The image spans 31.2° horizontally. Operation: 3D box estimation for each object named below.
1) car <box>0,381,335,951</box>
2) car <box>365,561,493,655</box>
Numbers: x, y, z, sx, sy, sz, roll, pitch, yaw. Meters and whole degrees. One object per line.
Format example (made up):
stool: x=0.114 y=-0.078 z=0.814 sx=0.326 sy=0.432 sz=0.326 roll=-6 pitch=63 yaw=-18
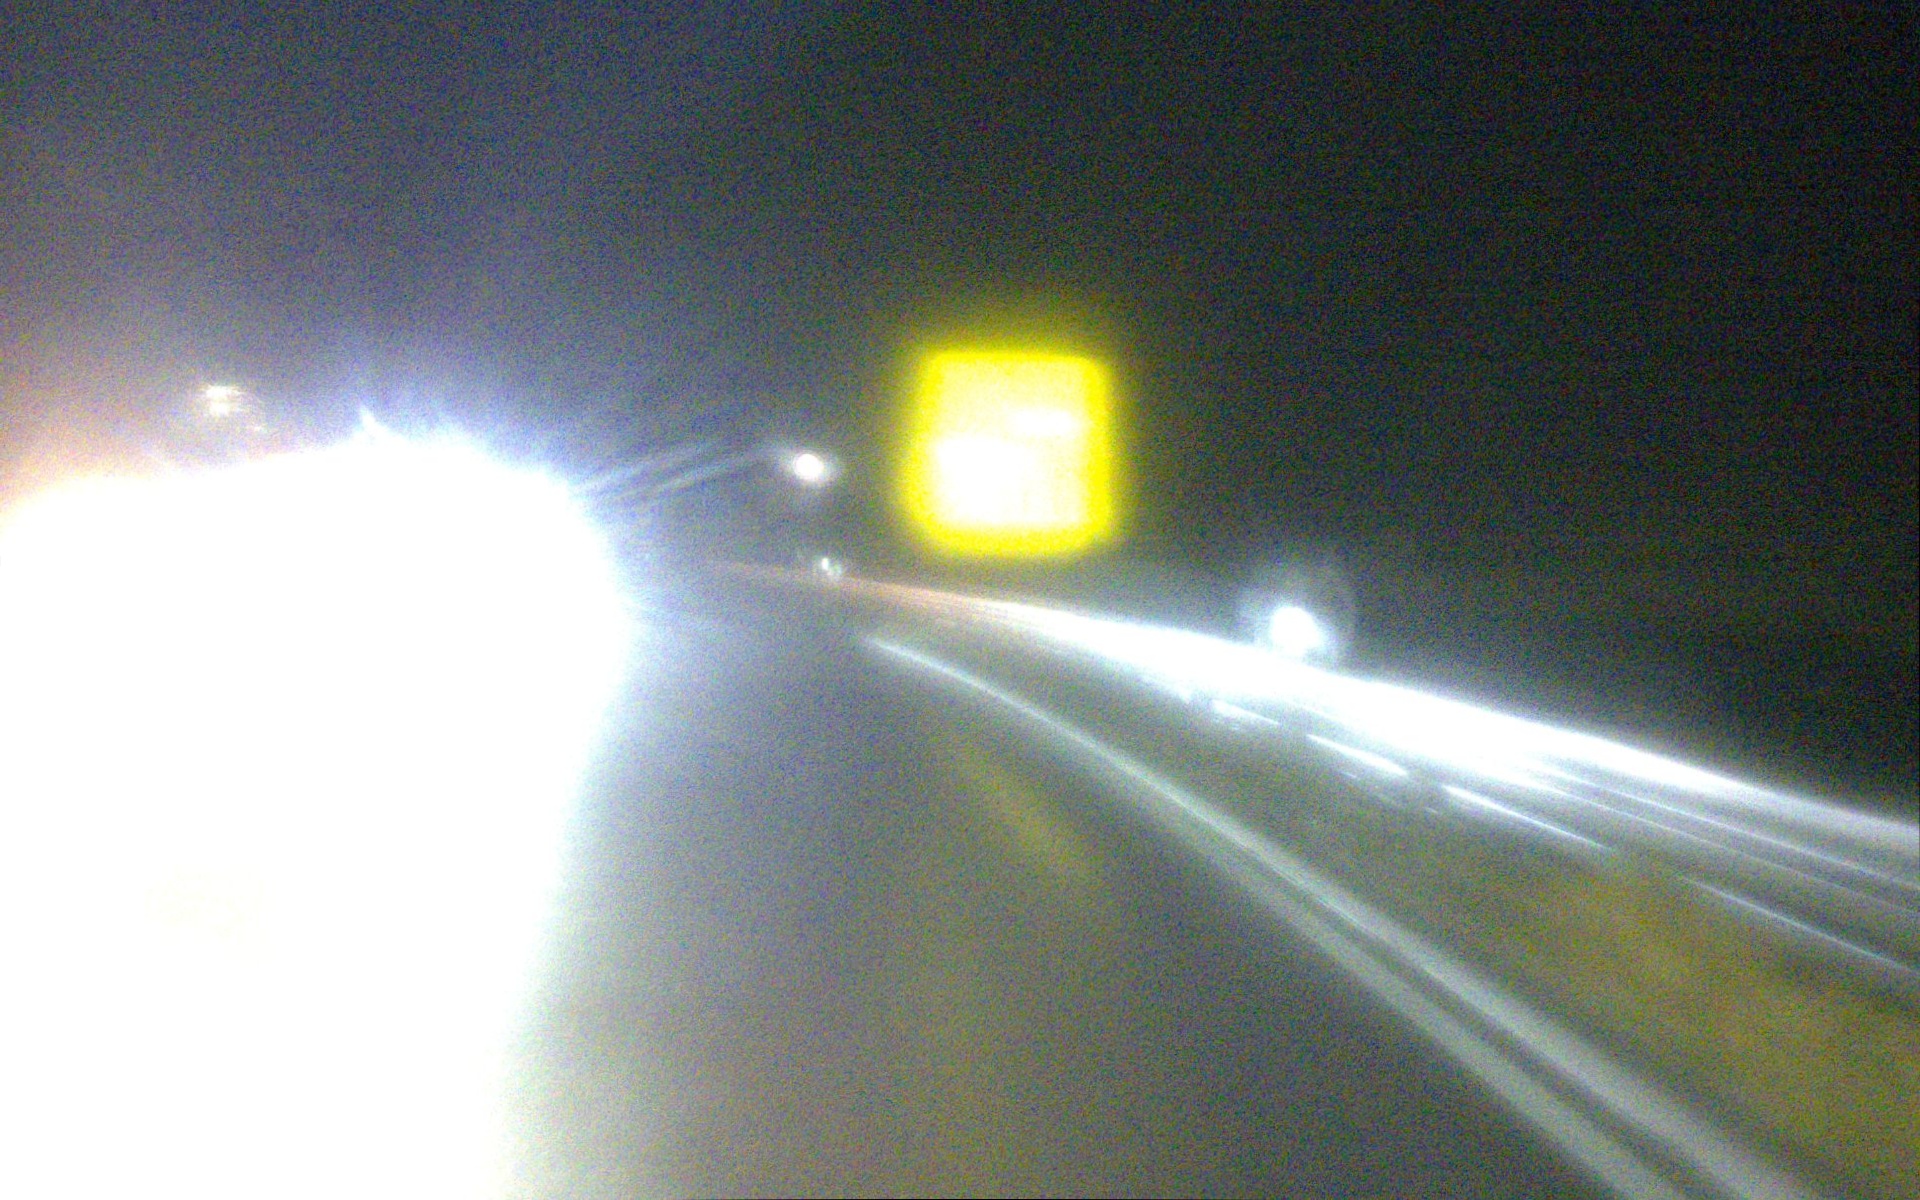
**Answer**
car: x=-3.957 y=0.214 z=14.453 sx=1.993 sy=2.067 sz=4.000 roll=0 pitch=1 yaw=-1
car: x=-9.456 y=0.113 z=61.505 sx=1.993 sy=1.608 sz=4.613 roll=0 pitch=1 yaw=-6
